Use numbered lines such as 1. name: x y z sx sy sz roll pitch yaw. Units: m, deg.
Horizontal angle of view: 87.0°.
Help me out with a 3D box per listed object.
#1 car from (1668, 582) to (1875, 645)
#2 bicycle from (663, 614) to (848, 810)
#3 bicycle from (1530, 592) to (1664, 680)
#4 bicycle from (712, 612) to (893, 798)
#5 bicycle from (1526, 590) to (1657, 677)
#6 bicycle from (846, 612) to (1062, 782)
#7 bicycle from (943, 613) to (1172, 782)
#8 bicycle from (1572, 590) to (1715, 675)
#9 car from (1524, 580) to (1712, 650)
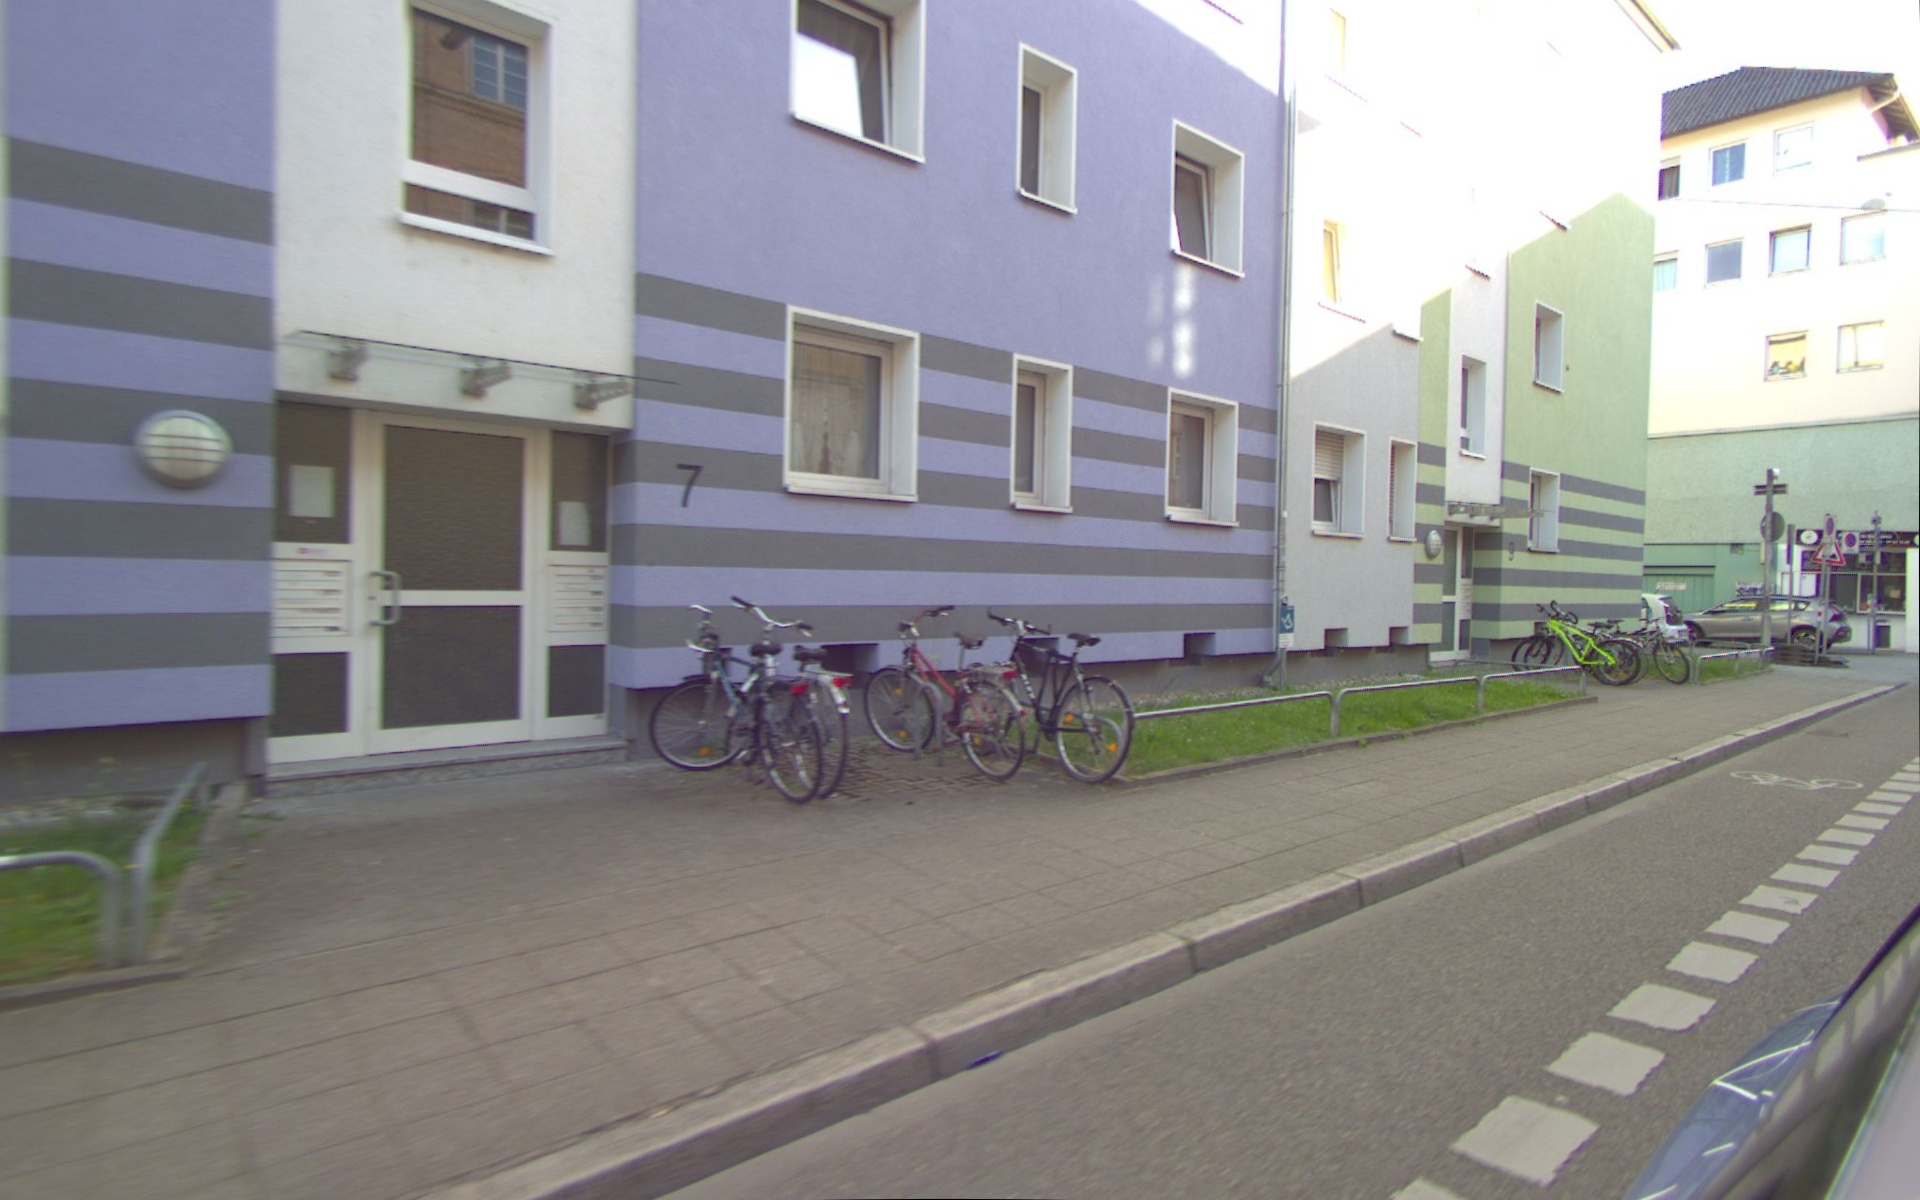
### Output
1. car: 21.912 0.301 27.450 1.832 1.500 4.088 0 2 -40
2. bicycle: -1.334 0.627 6.327 0.329 0.958 1.752 -1 3 -40
3. bicycle: 9.763 0.527 15.568 1.641 1.155 0.279 7 4 42
4. bicycle: -1.079 0.616 6.604 0.320 0.958 1.753 0 3 -39
5. bicycle: 9.567 0.483 15.378 1.602 1.155 0.234 7 4 42
6. bicycle: -0.099 0.621 7.231 0.542 0.958 1.752 -1 3 -40
7. bicycle: 0.642 0.635 7.297 0.542 0.958 1.752 -1 3 -40
8. bicycle: 10.968 0.494 16.287 0.542 1.155 1.753 1 4 -40
9. car: 16.326 0.320 25.218 1.678 1.500 3.554 0 3 -39
